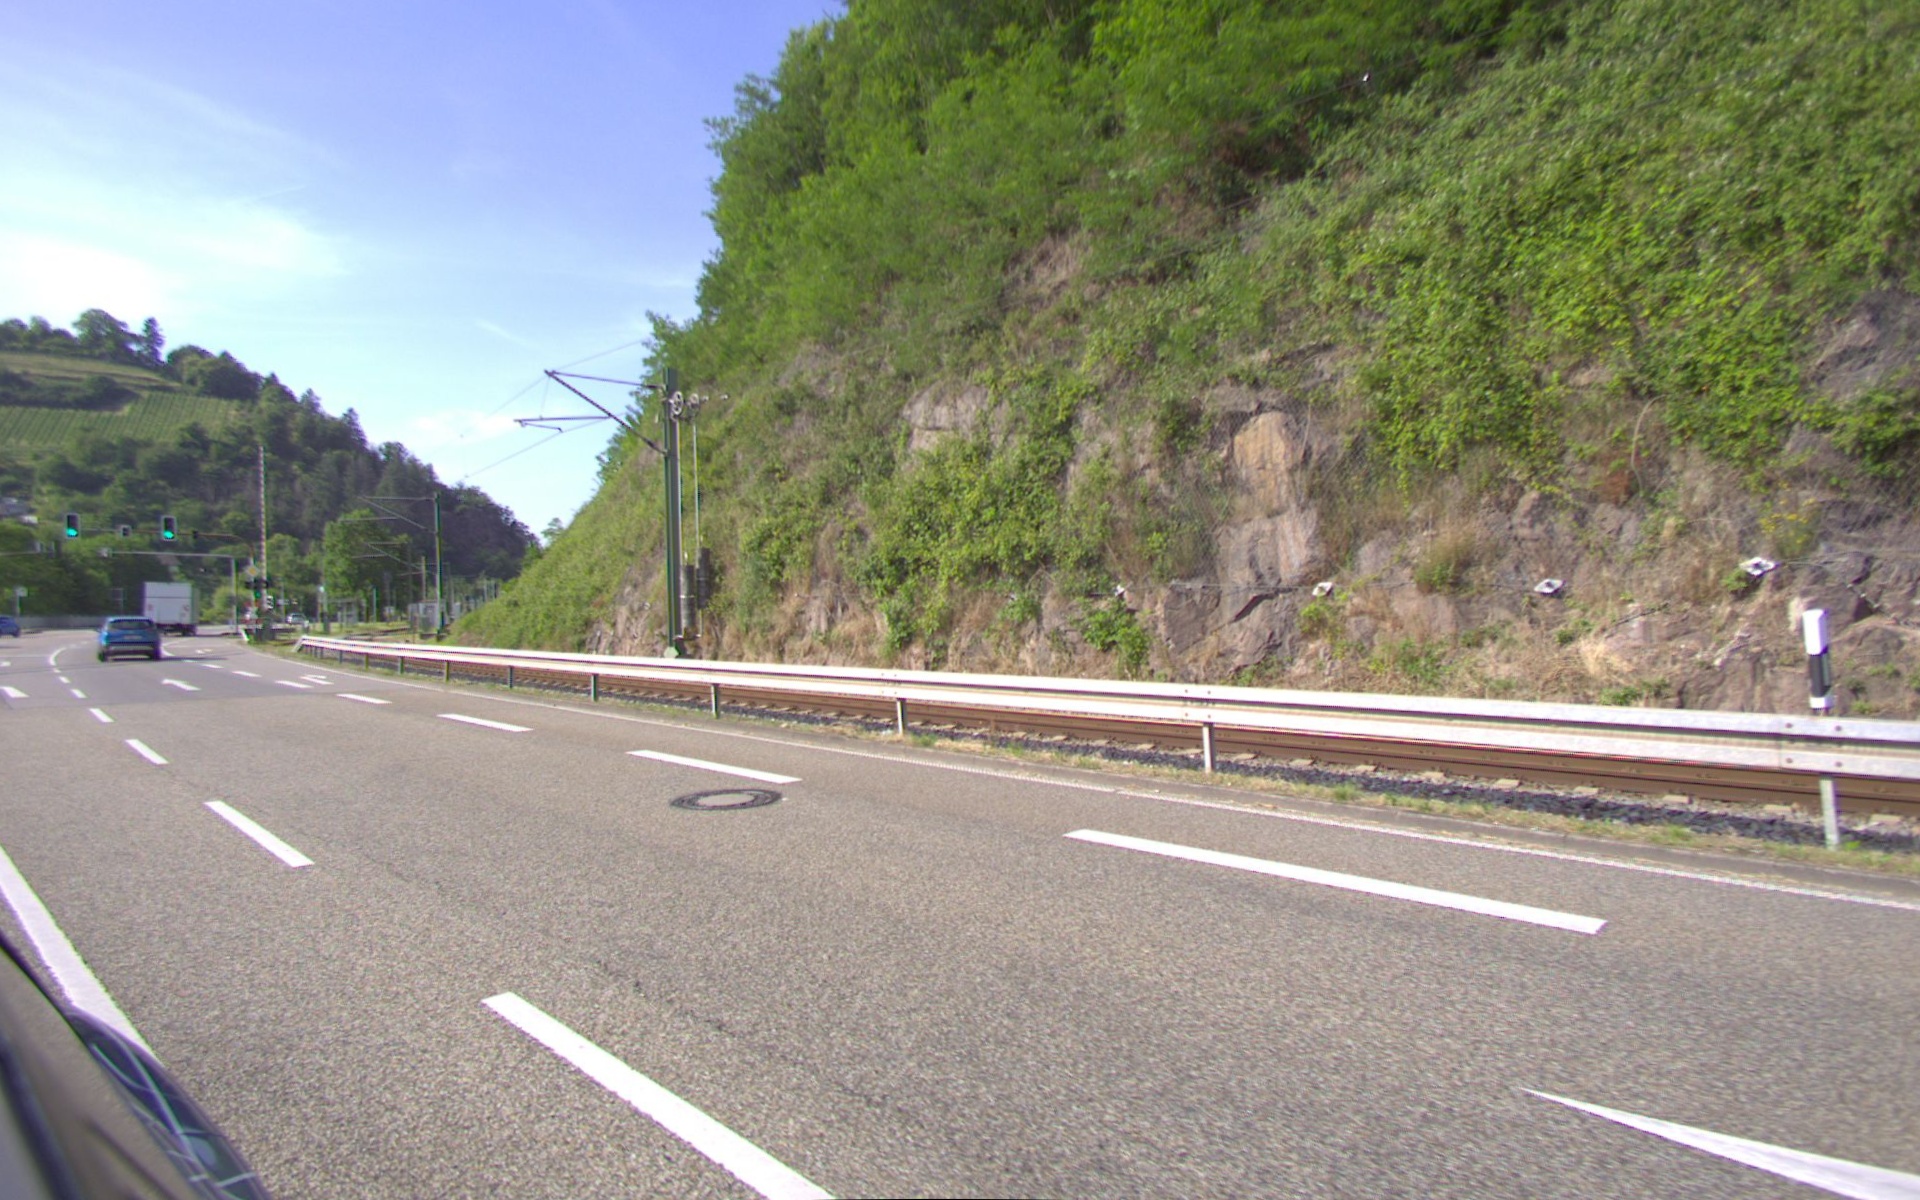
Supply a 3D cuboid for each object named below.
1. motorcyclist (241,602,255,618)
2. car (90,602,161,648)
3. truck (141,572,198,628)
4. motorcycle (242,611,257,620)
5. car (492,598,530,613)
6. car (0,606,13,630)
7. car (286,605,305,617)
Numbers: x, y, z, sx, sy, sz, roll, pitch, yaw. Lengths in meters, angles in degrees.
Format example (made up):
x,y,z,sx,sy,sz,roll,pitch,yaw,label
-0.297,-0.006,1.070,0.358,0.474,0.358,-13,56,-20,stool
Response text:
x,y,z,sx,sy,sz,roll,pitch,yaw,label
-75.700,1.080,107.639,0.992,1.728,0.868,0,-1,-20,motorcyclist
-30.404,0.896,36.833,1.698,1.582,4.138,0,-1,-44,car
-57.208,0.044,73.400,2.858,3.827,8.916,0,-1,-35,truck
-75.622,1.684,107.665,0.812,0.961,2.225,0,-1,-22,motorcycle
-53.134,0.706,119.787,3.931,1.763,1.646,0,-1,-19,car
-62.150,1.156,64.581,1.838,1.503,4.010,0,-1,-34,car
-89.963,1.520,137.111,1.668,1.669,4.185,0,-1,-27,car
